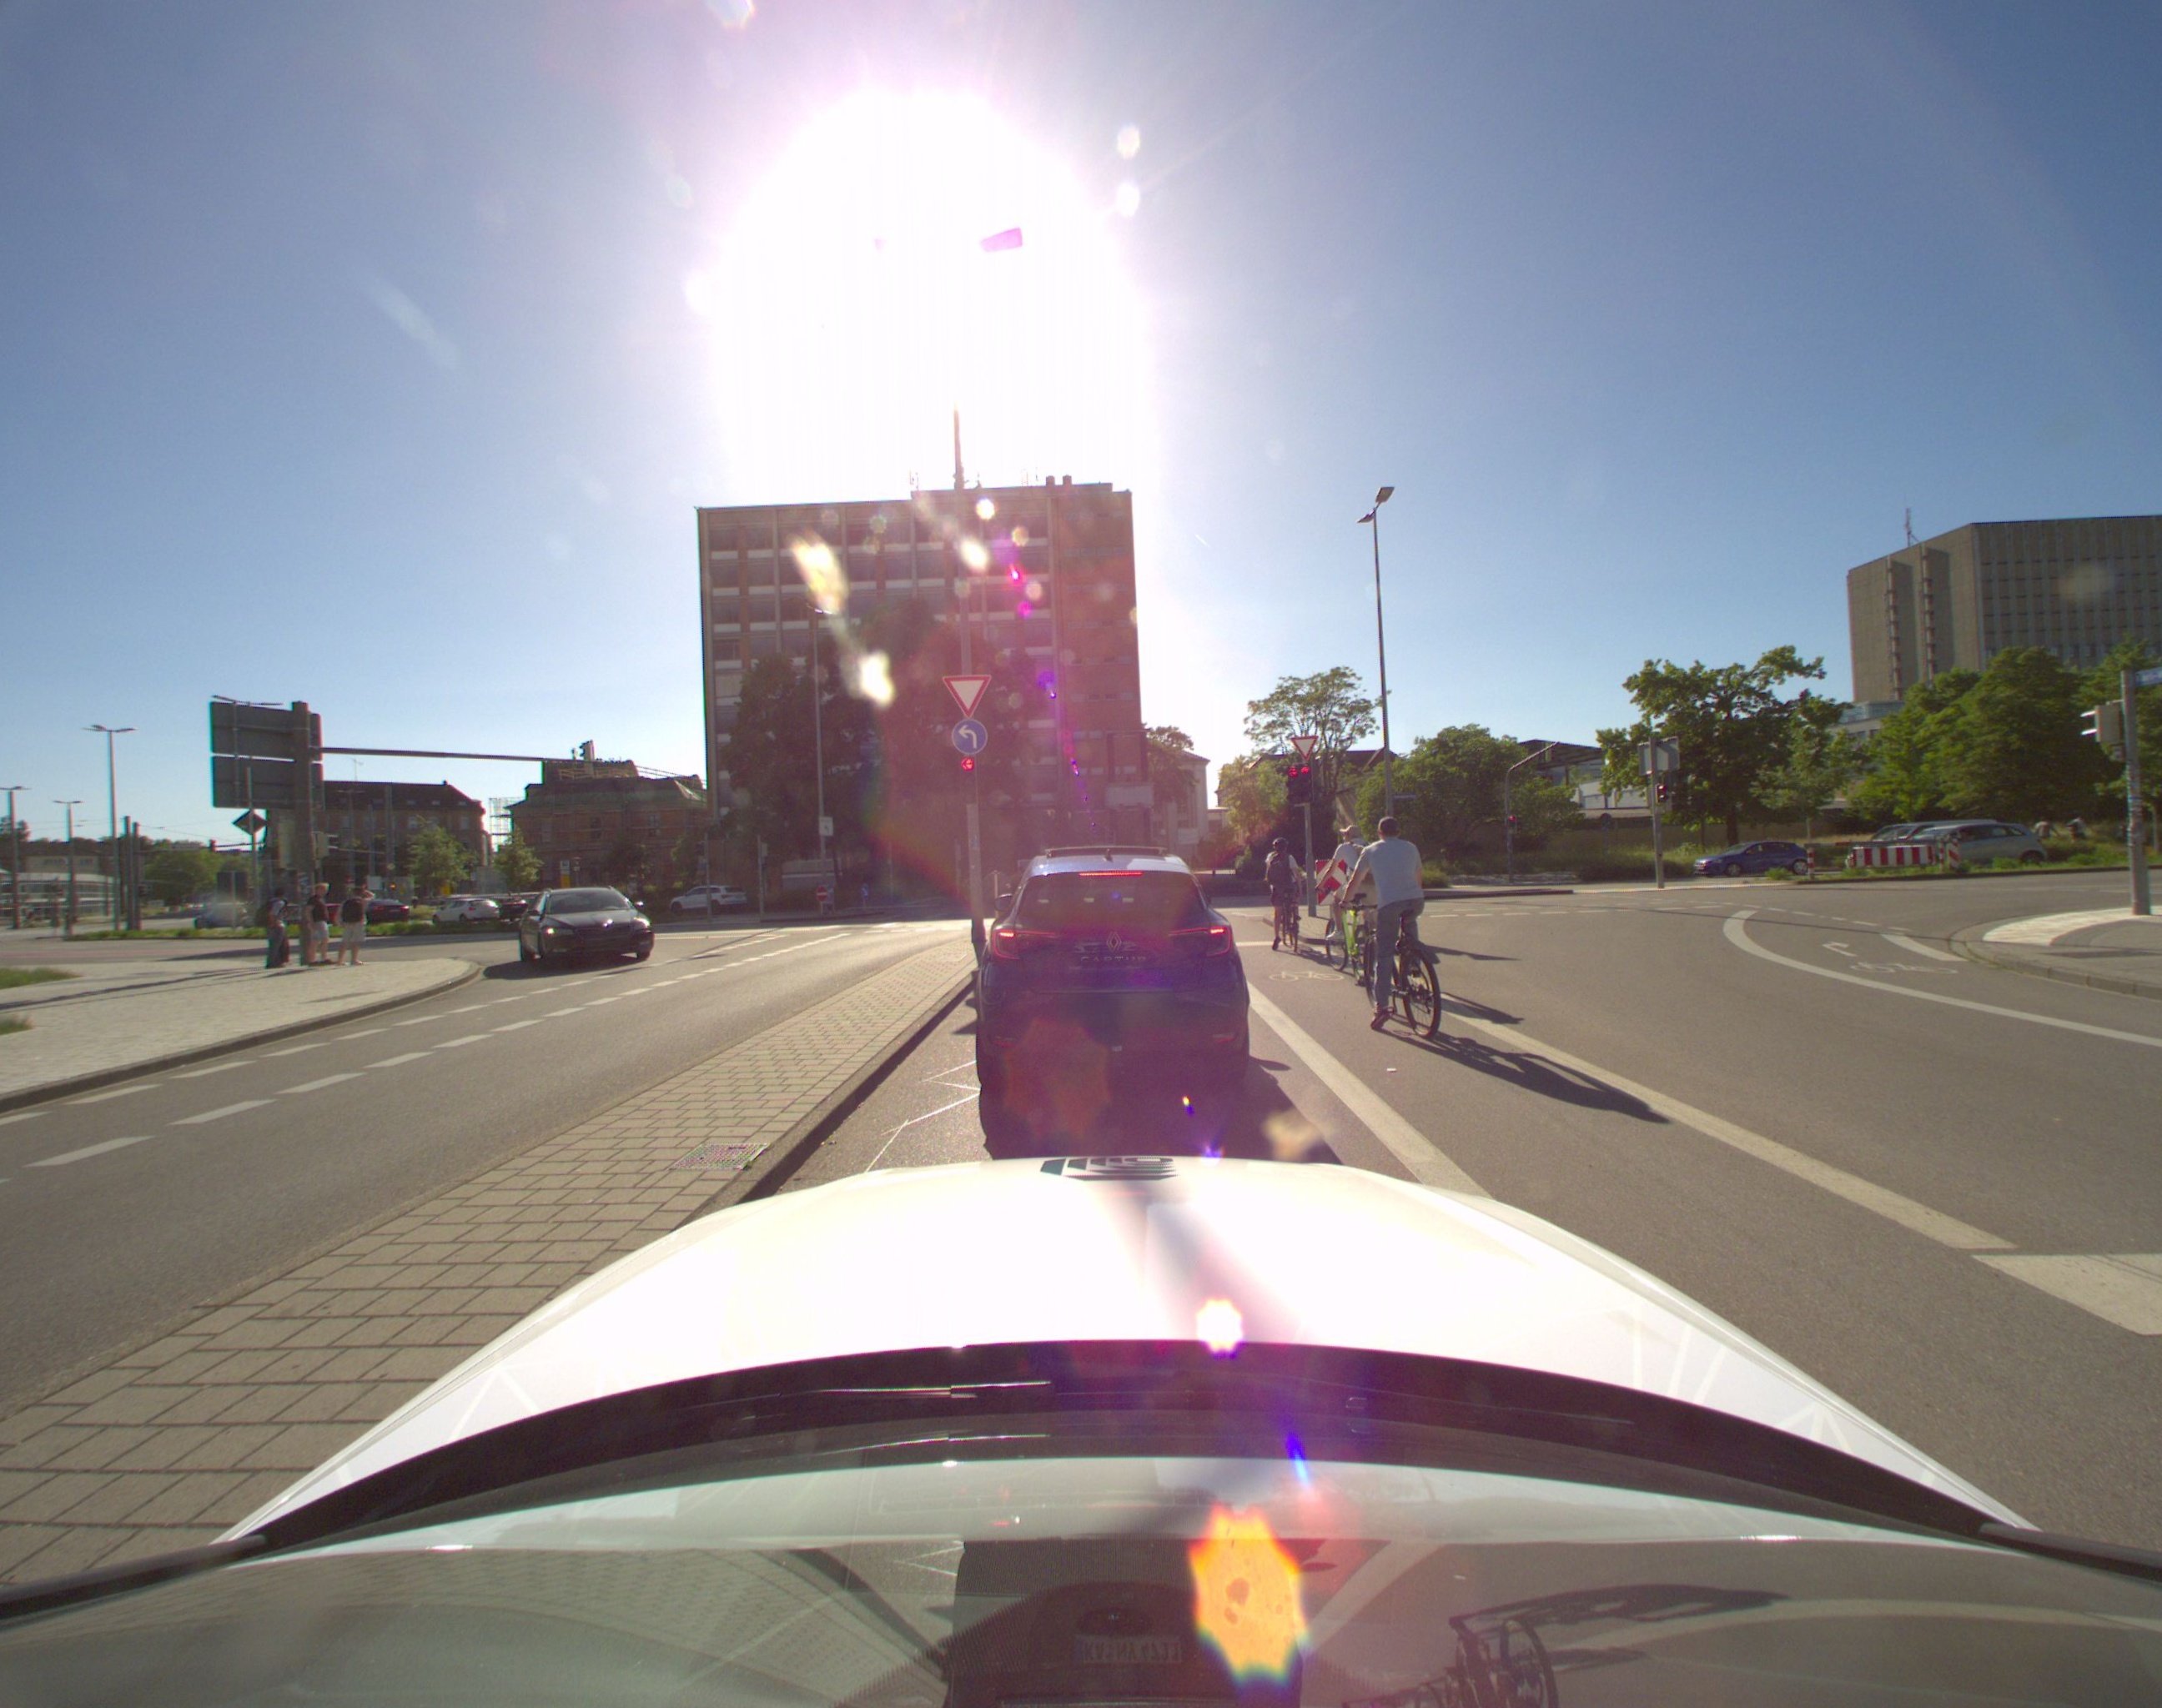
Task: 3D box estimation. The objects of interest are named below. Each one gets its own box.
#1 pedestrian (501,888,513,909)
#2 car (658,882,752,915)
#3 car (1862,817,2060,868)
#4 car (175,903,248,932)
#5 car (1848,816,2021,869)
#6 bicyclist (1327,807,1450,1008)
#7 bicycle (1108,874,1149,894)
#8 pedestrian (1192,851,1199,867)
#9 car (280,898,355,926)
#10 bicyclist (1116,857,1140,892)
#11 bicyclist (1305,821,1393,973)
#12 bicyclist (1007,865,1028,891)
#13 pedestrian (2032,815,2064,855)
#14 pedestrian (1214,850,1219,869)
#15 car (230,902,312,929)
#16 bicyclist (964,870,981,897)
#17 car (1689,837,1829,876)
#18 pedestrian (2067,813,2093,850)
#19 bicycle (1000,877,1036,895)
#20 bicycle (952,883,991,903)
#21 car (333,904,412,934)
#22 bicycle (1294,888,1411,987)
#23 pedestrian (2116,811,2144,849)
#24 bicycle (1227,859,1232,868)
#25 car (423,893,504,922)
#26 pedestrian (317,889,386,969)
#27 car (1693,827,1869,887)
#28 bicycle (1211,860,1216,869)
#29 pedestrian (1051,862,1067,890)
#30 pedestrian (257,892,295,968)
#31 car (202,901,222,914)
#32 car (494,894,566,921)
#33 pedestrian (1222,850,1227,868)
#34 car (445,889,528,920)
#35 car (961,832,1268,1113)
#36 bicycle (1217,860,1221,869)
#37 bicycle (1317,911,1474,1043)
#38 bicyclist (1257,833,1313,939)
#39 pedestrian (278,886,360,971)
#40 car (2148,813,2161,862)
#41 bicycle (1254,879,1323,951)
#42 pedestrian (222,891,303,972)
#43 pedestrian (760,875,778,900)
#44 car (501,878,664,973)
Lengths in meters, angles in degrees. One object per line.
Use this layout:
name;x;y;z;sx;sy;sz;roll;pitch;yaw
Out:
pedestrian;-45.762;3.529;64.927;0.541;1.615;0.653;-3;-1;41
car;-21.279;2.530;46.115;4.785;1.632;1.853;-2;-1;18
car;28.145;-0.359;26.177;4.025;1.408;1.872;-2;-1;8
car;-55.158;4.037;51.650;4.333;1.632;1.855;-3;-1;25
car;35.257;-0.440;33.771;4.856;2.107;2.002;0;-1;4
bicyclist;2.716;0.450;7.308;0.748;1.668;1.017;0;-1;3
bicycle;2.555;1.637;44.037;2.067;0.930;0.698;-3;1;13
pedestrian;13.600;0.609;96.733;0.621;1.856;0.563;-2;-1;3
car;-48.451;3.684;51.665;4.334;1.632;1.854;-3;-1;23
bicyclist;2.532;1.099;43.733;1.094;1.867;0.655;-3;-1;12
bicyclist;3.219;0.495;9.863;0.644;1.739;1.065;0;-1;-4
bicyclist;-3.632;1.372;46.684;0.927;1.429;0.602;-3;-1;29
pedestrian;46.060;-0.903;38.798;0.559;1.848;0.714;-2;-1;5
pedestrian;15.112;0.599;90.869;0.473;2.014;0.524;-2;-1;8
car;-48.012;3.627;48.264;4.839;1.388;1.855;-3;-1;25
bicyclist;-5.883;1.596;44.067;0.741;1.441;0.593;-2;-1;-25
car;28.223;0.101;34.018;4.140;1.435;1.747;-2;-1;8
pedestrian;49.297;-1.096;40.191;0.559;1.778;0.528;-2;-1;5
bicycle;-3.615;1.827;46.676;2.056;0.964;0.602;-3;-1;29
bicycle;-5.920;2.112;44.040;2.016;0.964;0.593;-2;-1;-25
car;-42.555;3.920;48.912;4.334;1.632;1.854;-3;-1;23
bicycle;3.218;0.955;9.864;0.657;1.003;1.967;0;-1;-4
pedestrian;50.222;-1.127;39.006;0.559;1.778;0.528;-2;-1;5
bicycle;17.198;1.072;94.185;0.403;0.973;1.686;0;-1;6
car;-33.886;2.948;44.722;3.803;1.435;1.752;-2;-1;21
pedestrian;-16.302;1.654;18.227;0.791;1.690;0.787;-4;-3;-7
car;26.305;0.112;30.755;4.754;2.161;2.003;0;-1;5
bicycle;15.268;1.228;93.892;0.403;0.973;1.686;0;-1;6
pedestrian;-1.254;1.279;47.265;0.732;1.603;0.601;-3;-1;14
pedestrian;-19.221;1.798;19.456;0.600;1.729;0.572;-2;-1;-45
car;-148.429;9.110;139.077;3.948;2.013;2.013;-3;-1;38
car;-34.313;3.335;50.724;3.804;1.435;1.752;-3;-1;20
pedestrian;16.224;0.601;92.195;0.473;2.014;0.469;-2;-1;8
car;-34.954;2.989;47.866;4.335;1.632;1.854;-2;-1;21
car;0.207;0.709;6.815;1.798;1.632;3.999;-1;0;0
bicycle;15.886;1.223;93.834;0.403;0.973;1.686;0;-1;6
bicycle;2.724;1.028;7.308;0.737;0.896;1.980;0;-1;3
bicyclist;3.242;0.501;13.000;0.722;1.629;0.970;0;-1;6
pedestrian;-17.161;1.658;18.365;0.699;1.800;1.105;-5;-3;8
car;36.991;-0.623;25.359;4.713;1.584;2.002;-2;-1;3
bicycle;3.252;0.928;12.946;0.735;0.995;2.177;0;-1;6
pedestrian;-18.177;1.705;18.102;0.900;1.690;0.839;-4;-3;-3
pedestrian;-20.650;2.215;53.962;0.852;1.571;0.562;-5;-1;24
car;-10.154;1.384;16.401;1.830;1.505;4.725;-4;0;-43
